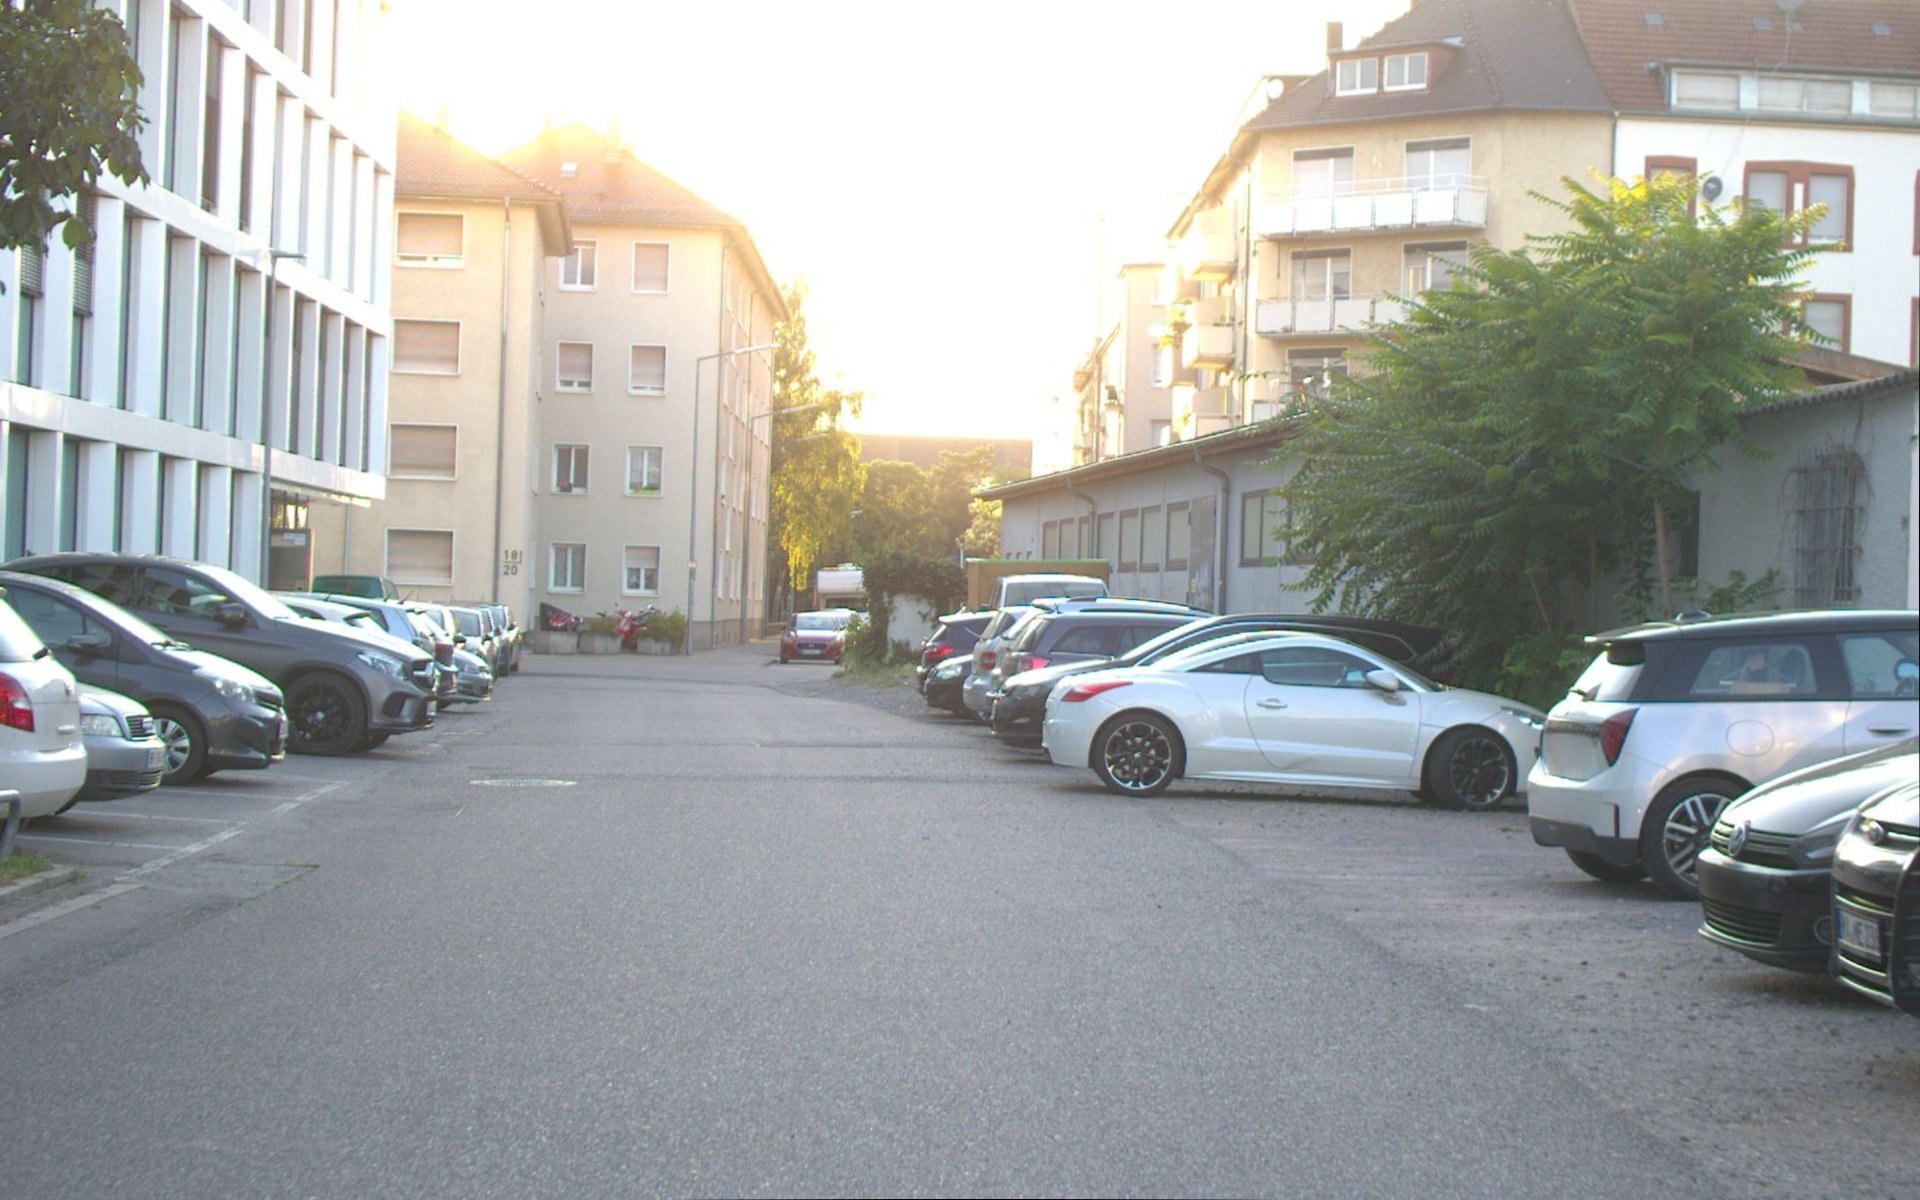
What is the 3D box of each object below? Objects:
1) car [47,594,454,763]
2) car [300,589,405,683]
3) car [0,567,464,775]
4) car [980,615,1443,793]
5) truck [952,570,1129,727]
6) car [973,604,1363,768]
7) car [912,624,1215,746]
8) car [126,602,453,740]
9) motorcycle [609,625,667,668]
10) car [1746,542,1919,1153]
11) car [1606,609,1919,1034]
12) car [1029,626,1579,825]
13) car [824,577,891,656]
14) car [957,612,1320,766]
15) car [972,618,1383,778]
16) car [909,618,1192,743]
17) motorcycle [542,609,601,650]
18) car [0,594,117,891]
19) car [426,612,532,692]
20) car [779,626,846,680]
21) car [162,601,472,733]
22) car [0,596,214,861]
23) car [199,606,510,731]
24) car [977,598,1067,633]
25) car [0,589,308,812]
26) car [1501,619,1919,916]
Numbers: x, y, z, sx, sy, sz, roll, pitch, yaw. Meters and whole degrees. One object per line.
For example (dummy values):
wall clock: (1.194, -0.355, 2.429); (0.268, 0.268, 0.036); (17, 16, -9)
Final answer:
car: (-7.110, 0.770, 34.674); (3.667, 1.506, 1.696); (3, 0, 2)
car: (-13.591, 0.780, 77.124); (1.797, 1.973, 4.690); (1, 0, -4)
car: (-7.137, 0.628, 32.078); (4.619, 1.700, 2.004); (3, 0, 2)
car: (2.356, 0.990, 32.993); (4.202, 1.498, 1.890); (2, -1, -2)
truck: (1.148, 0.709, 52.083); (2.097, 2.193, 5.711); (1, 0, -4)
car: (2.269, 0.933, 38.109); (3.983, 1.614, 1.827); (2, 0, -7)
car: (1.337, 1.115, 45.457); (3.759, 1.439, 1.845); (2, -1, -5)
car: (-8.210, 0.858, 42.285); (3.654, 1.506, 1.688); (3, 0, -1)
motorcycle: (-9.038, 1.314, 96.695); (0.689, 1.156, 2.031); (1, 0, 24)
car: (4.801, 0.720, 10.741); (4.241, 1.735, 1.967); (0, -1, 0)
car: (4.798, 0.829, 13.763); (4.003, 1.558, 1.712); (0, 0, -7)
car: (2.699, 0.989, 27.722); (4.202, 1.362, 1.823); (2, 0, 0)
car: (-4.266, 0.695, 144.326); (2.620, 3.258, 7.696); (0, 0, 0)
car: (2.059, 1.033, 40.460); (3.983, 1.604, 1.939); (2, 0, -5)
car: (2.190, 1.004, 35.368); (3.983, 1.440, 1.827); (2, -1, -3)
car: (1.224, 1.103, 47.896); (3.759, 1.530, 1.891); (2, 1, -2)
motorcycle: (-10.619, 0.819, 94.134); (0.724, 1.075, 2.078); (1, 0, 20)
car: (-6.586, 0.660, 18.376); (3.707, 1.490, 1.708); (3, 0, -2)
car: (-10.052, 1.062, 72.083); (1.779, 1.474, 4.331); (5, 0, -4)
car: (-4.221, 1.518, 98.875); (1.845, 1.468, 4.078); (1, 0, -2)
car: (-8.287, 0.856, 44.507); (3.654, 1.506, 1.688); (3, 0, -1)
car: (-6.950, 0.688, 21.072); (4.308, 1.490, 1.795); (3, 0, 0)
car: (-8.270, 0.925, 47.166); (3.926, 1.506, 1.687); (3, 0, -1)
car: (2.775, 0.696, 154.339); (3.987, 1.525, 1.659); (0, 0, -1)
car: (-6.961, 0.703, 25.901); (3.781, 1.517, 1.694); (3, 0, -3)
car: (4.898, 0.853, 18.215); (3.704, 1.474, 1.712); (0, 0, -5)
